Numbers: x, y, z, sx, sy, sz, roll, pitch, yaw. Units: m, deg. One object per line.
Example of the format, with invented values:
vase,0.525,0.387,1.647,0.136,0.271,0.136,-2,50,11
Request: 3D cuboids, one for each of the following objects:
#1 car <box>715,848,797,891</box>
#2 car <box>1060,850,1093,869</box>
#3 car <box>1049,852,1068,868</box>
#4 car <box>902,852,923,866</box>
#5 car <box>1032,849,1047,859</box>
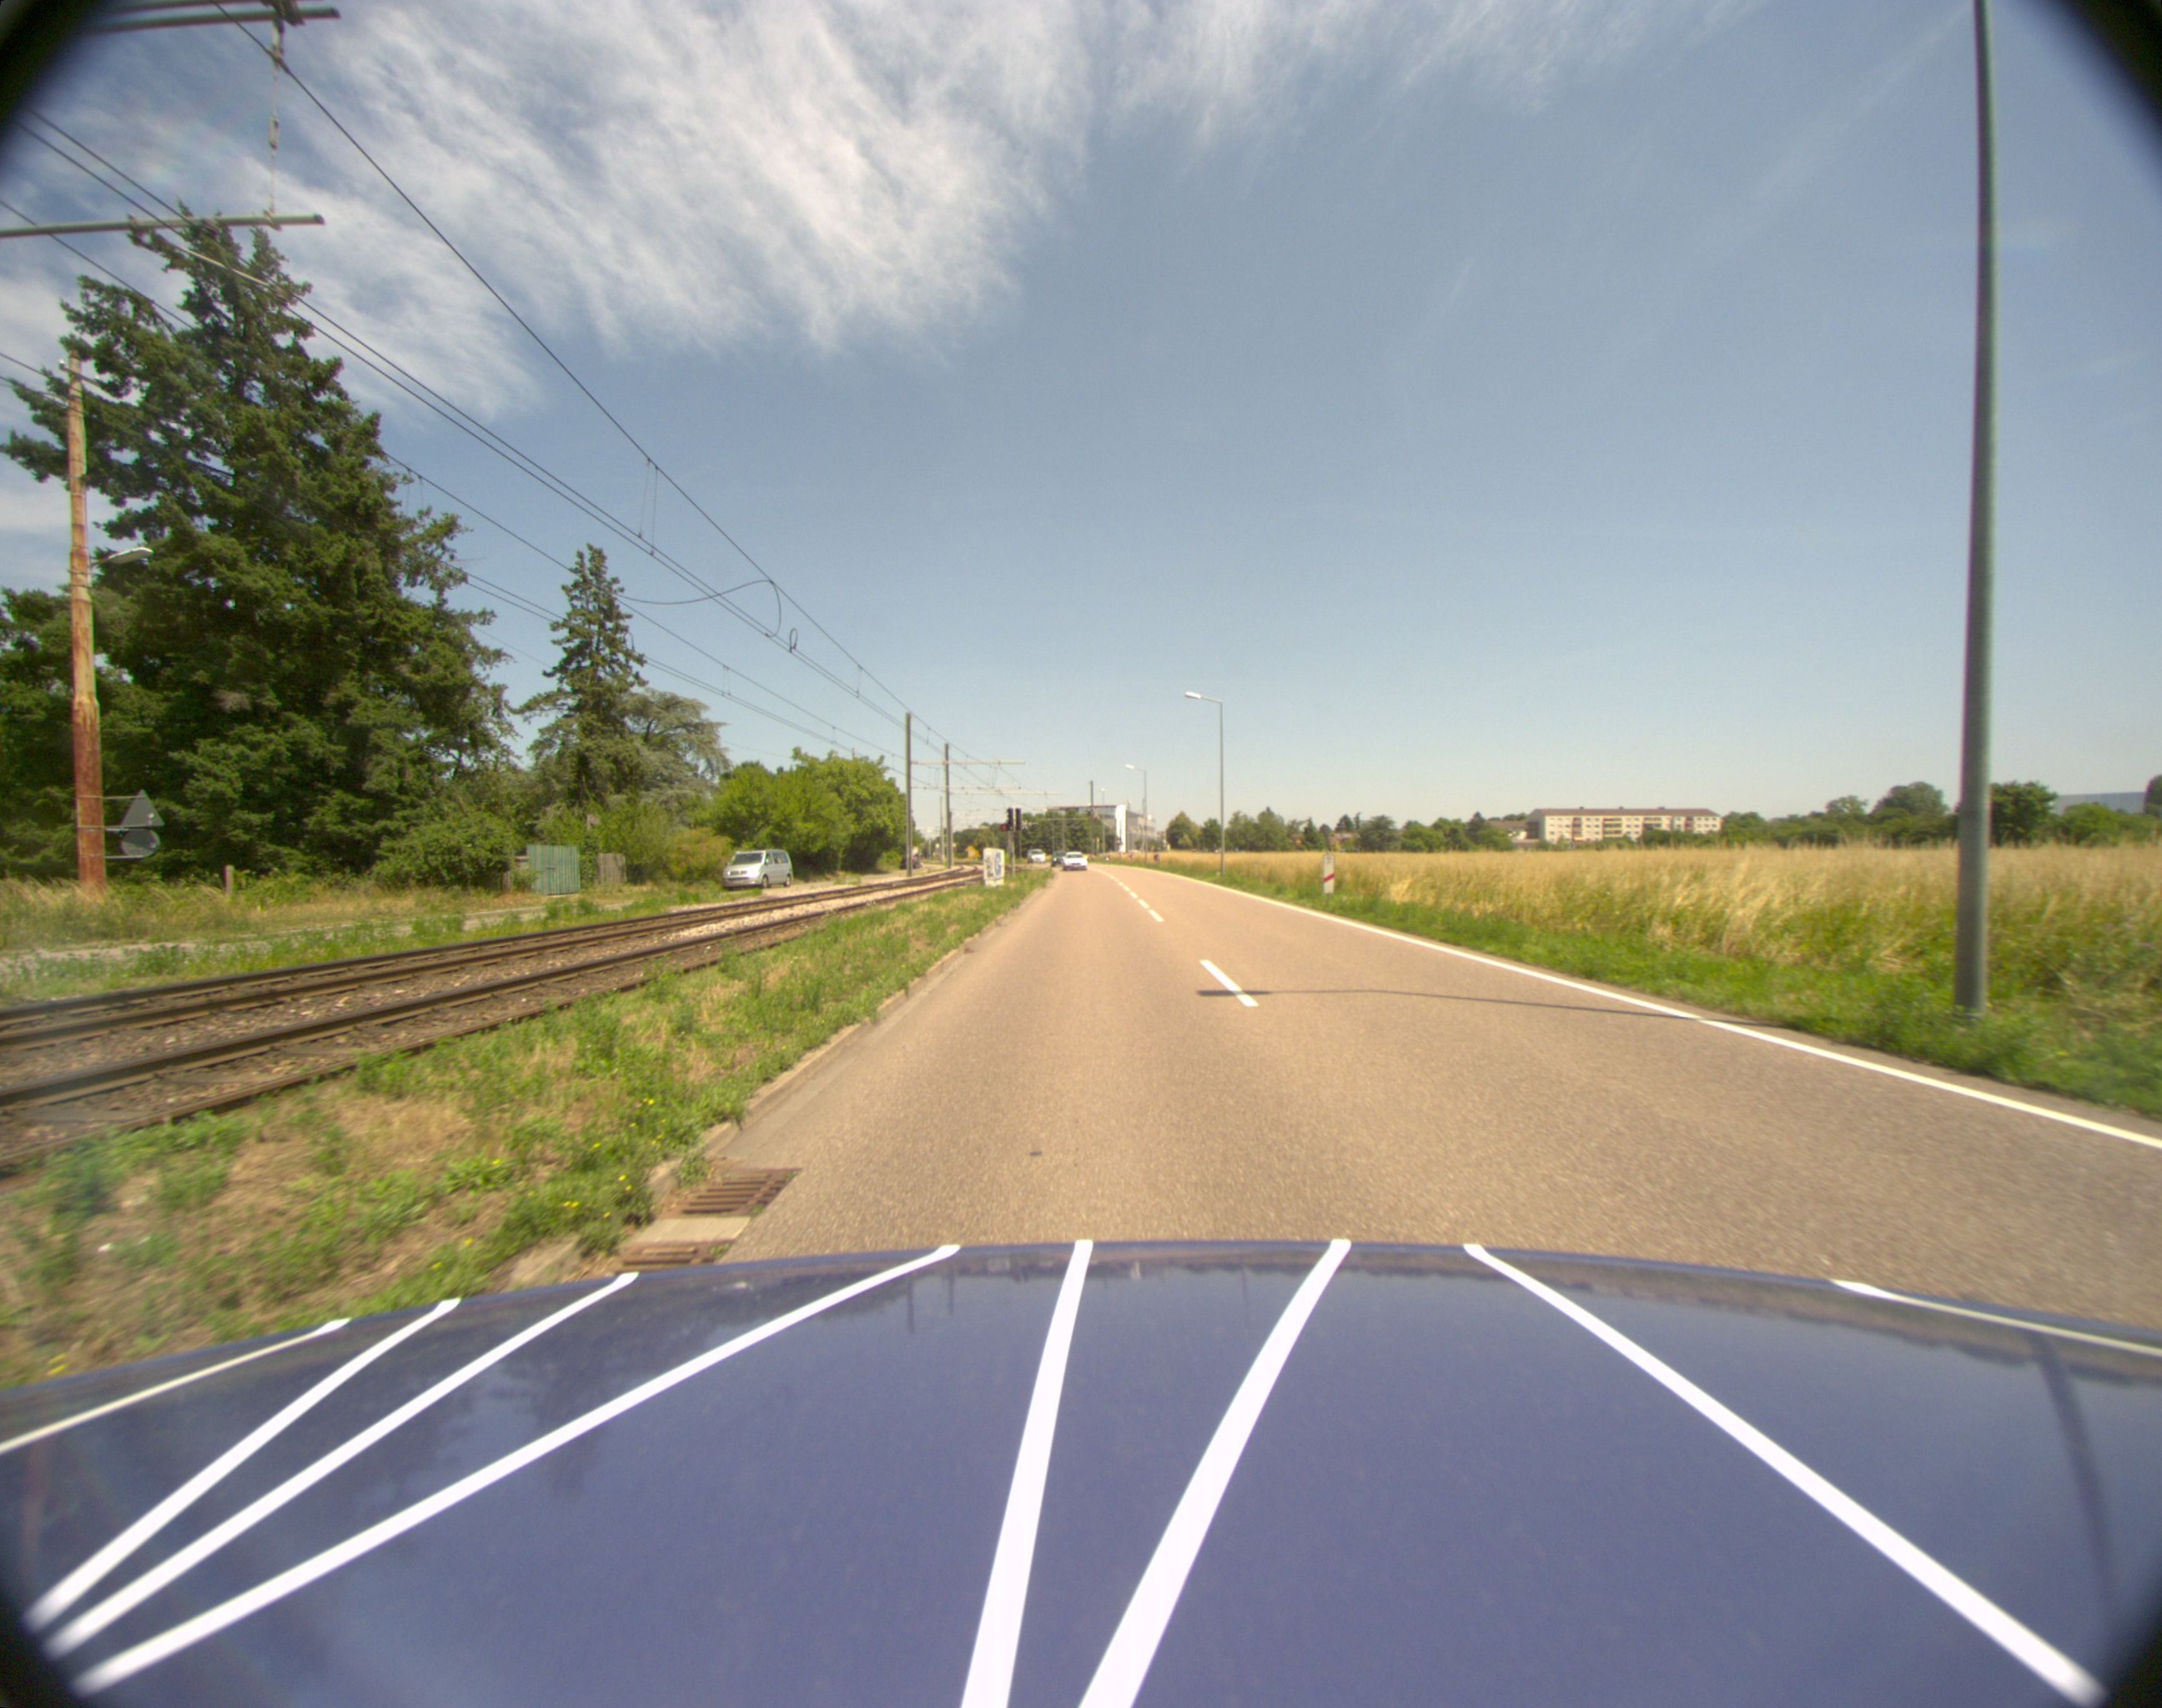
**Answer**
car,-16.000,0.693,37.723,2.042,1.871,5.066,-1,1,-2
car,-0.374,0.409,60.339,1.773,1.434,4.124,-1,1,-12
car,-2.223,0.566,74.678,1.511,1.423,3.355,-1,1,-8
car,-19.180,0.564,86.641,1.802,1.418,4.736,-1,1,-7
car,-5.527,0.017,100.881,1.633,1.242,3.160,-1,1,-8
